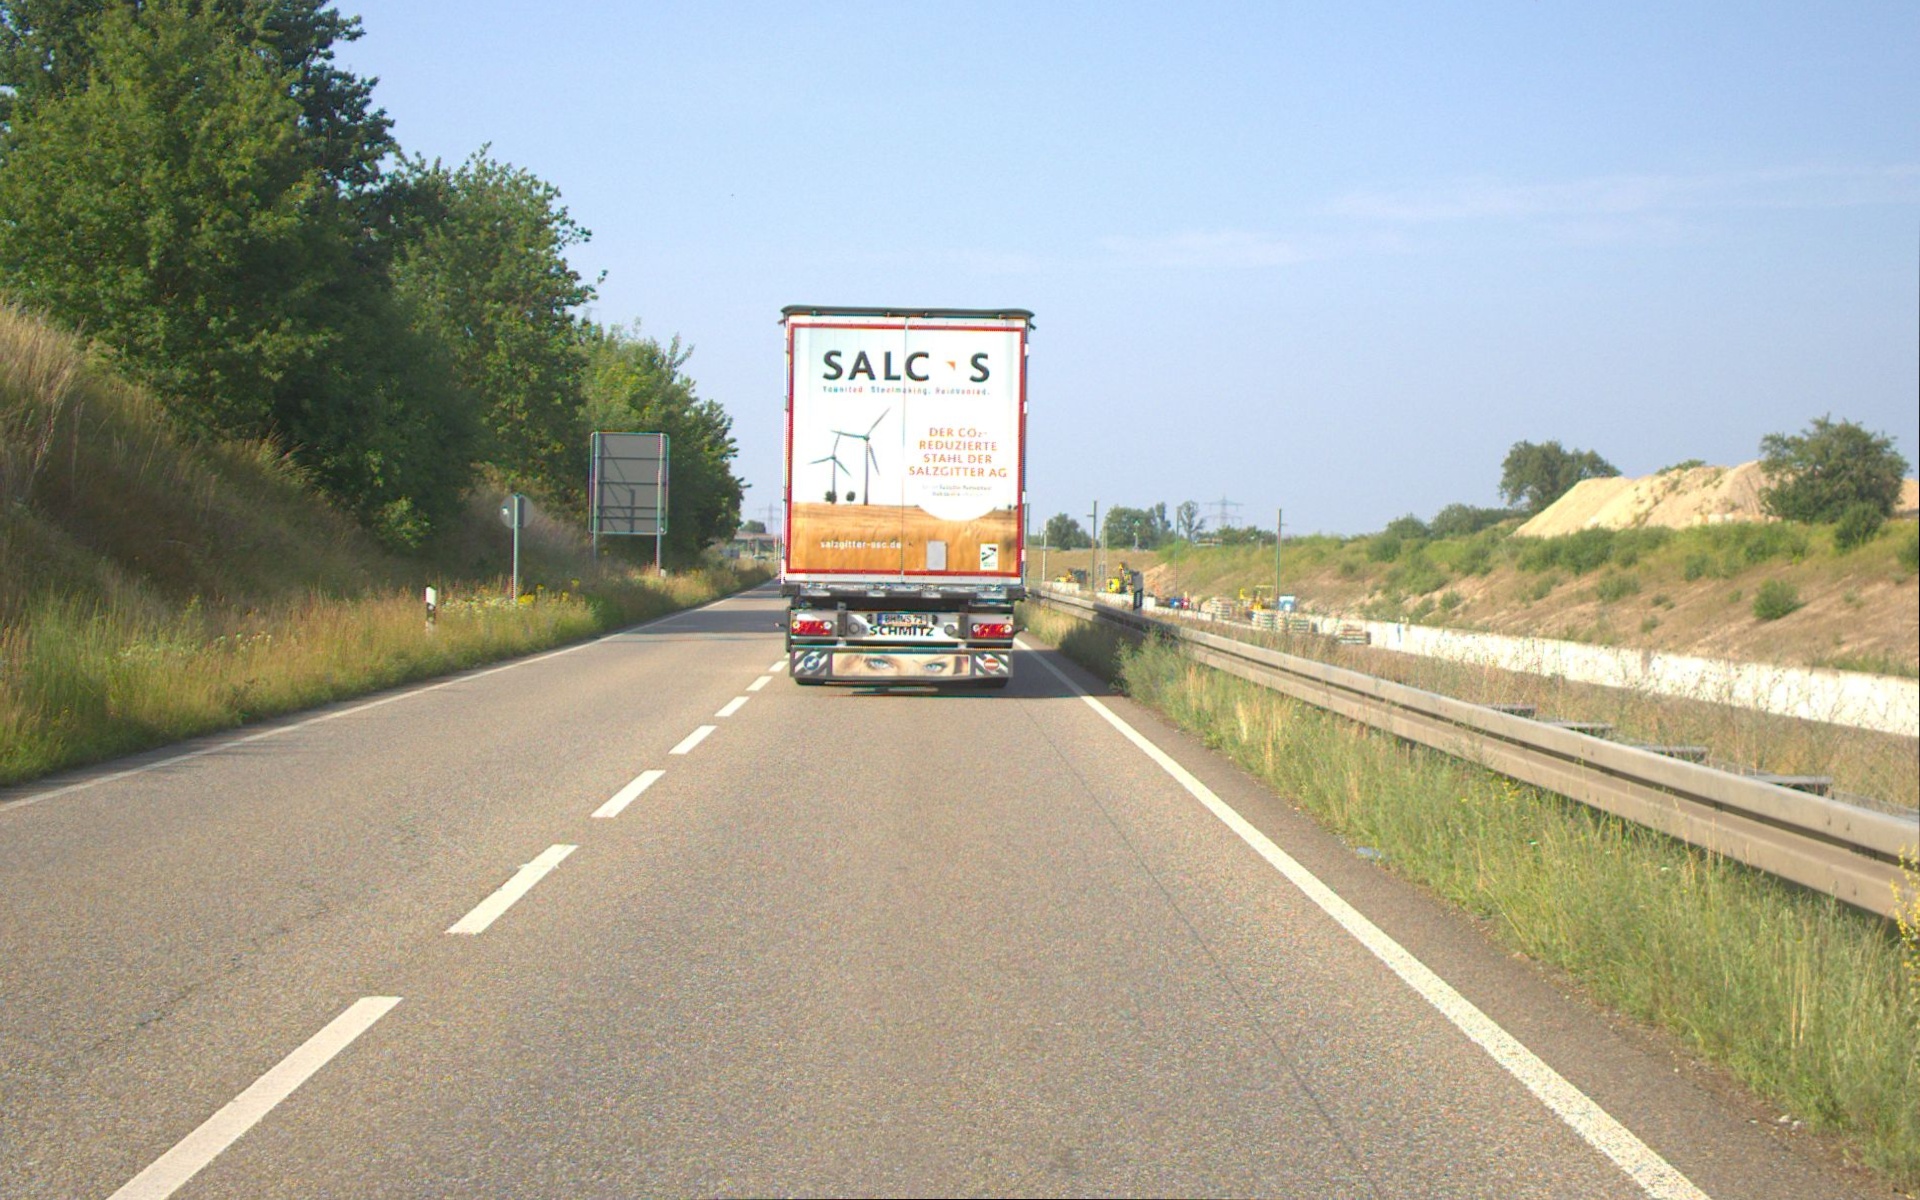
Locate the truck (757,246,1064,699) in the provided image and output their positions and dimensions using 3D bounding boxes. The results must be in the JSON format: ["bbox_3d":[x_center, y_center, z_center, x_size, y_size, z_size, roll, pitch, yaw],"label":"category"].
[{"bbox_3d":[-0.679,-1.368,39.823,3.153,4.672,8.442,0,1,-2],"label":"truck"}]
